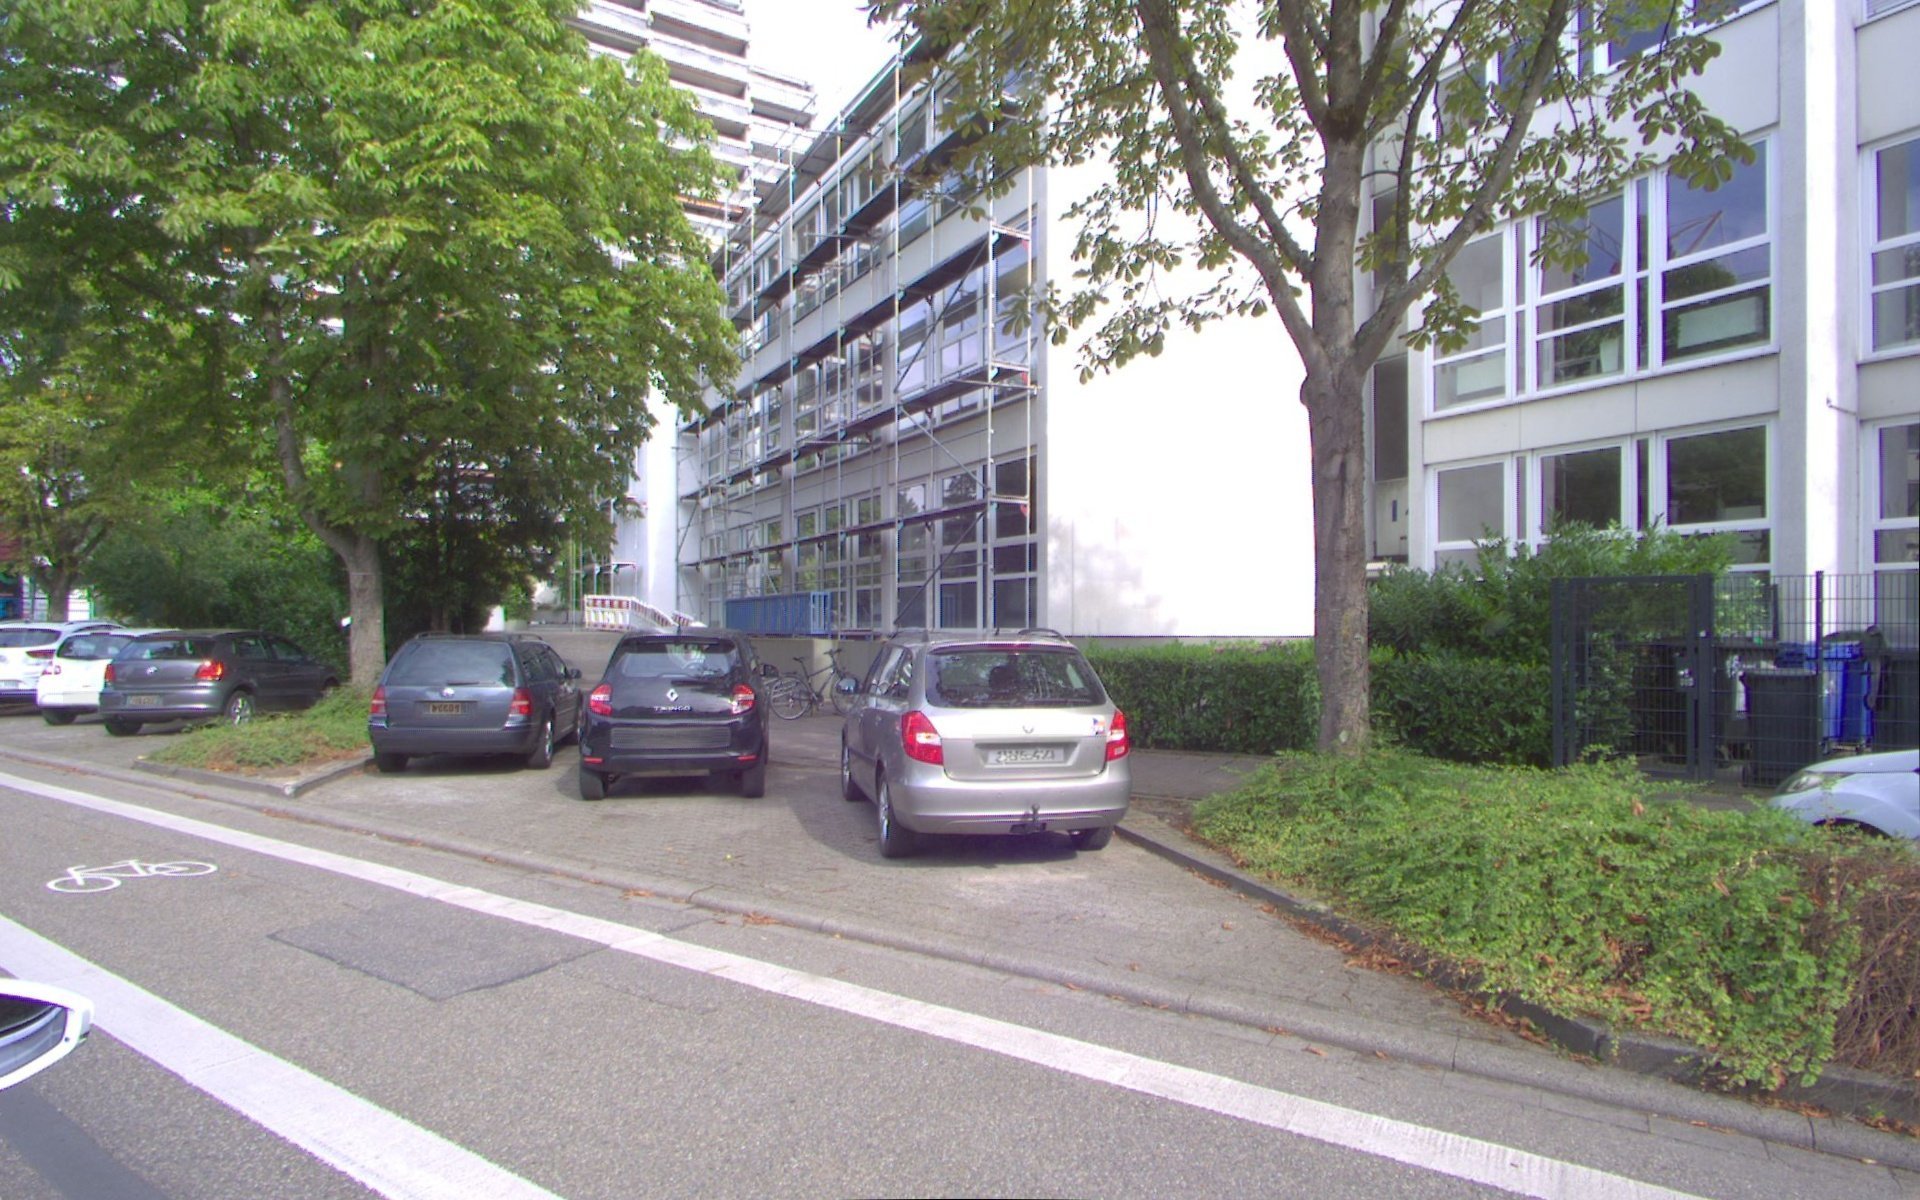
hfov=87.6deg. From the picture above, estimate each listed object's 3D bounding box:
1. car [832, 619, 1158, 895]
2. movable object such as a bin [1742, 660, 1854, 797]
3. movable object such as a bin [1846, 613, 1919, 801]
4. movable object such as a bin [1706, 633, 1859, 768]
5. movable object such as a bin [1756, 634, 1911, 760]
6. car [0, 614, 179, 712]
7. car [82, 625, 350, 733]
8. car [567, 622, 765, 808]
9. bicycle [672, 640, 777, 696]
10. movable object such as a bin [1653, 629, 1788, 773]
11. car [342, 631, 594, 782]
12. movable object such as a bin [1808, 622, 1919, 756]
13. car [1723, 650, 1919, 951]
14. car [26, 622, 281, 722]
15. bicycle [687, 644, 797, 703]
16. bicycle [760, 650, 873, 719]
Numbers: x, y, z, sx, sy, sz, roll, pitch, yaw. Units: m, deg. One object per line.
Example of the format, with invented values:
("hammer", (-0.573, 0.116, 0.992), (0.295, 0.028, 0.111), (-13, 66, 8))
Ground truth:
("car", (-0.016, 0.964, 7.824), (1.566, 1.557, 4.049), (1, -2, -13))
("movable object such as a bin", (7.465, 1.114, 8.956), (0.734, 1.119, 0.781), (0, -1, 38))
("movable object such as a bin", (8.602, 0.895, 8.572), (1.397, 1.549, 1.322), (-1, -1, 37))
("movable object such as a bin", (9.242, 1.079, 11.262), (1.050, 1.409, 1.111), (1, -1, -36))
("movable object such as a bin", (10.387, 1.106, 11.915), (1.160, 1.388, 1.171), (1, -1, -36))
("car", (-16.287, 1.105, 18.379), (1.651, 1.623, 3.644), (0, -2, -12))
("car", (-11.090, 1.111, 15.266), (1.650, 1.438, 3.647), (0, -2, -6))
("car", (-2.811, 1.017, 10.199), (1.566, 1.557, 3.416), (1, -1, -10))
("bicycle", (-4.627, 1.325, 19.691), (1.944, 1.057, 0.593), (1, -1, -20))
("movable object such as a bin", (8.081, 1.026, 10.649), (1.012, 1.425, 0.906), (1, -1, -36))
("car", (-5.515, 1.091, 11.795), (1.783, 1.433, 4.166), (0, -2, -14))
("movable object such as a bin", (11.570, 1.080, 12.577), (1.160, 1.588, 1.171), (1, -1, -36))
("car", (5.572, 0.948, 4.025), (1.604, 1.411, 3.858), (1, -2, -13))
("car", (-13.429, 1.138, 16.967), (1.650, 1.493, 3.647), (0, -2, -6))
("bicycle", (-4.106, 1.368, 18.956), (1.949, 1.057, 0.591), (1, -1, -30))
("bicycle", (-2.368, 1.381, 16.602), (1.813, 1.057, 0.451), (0, 0, -29))
